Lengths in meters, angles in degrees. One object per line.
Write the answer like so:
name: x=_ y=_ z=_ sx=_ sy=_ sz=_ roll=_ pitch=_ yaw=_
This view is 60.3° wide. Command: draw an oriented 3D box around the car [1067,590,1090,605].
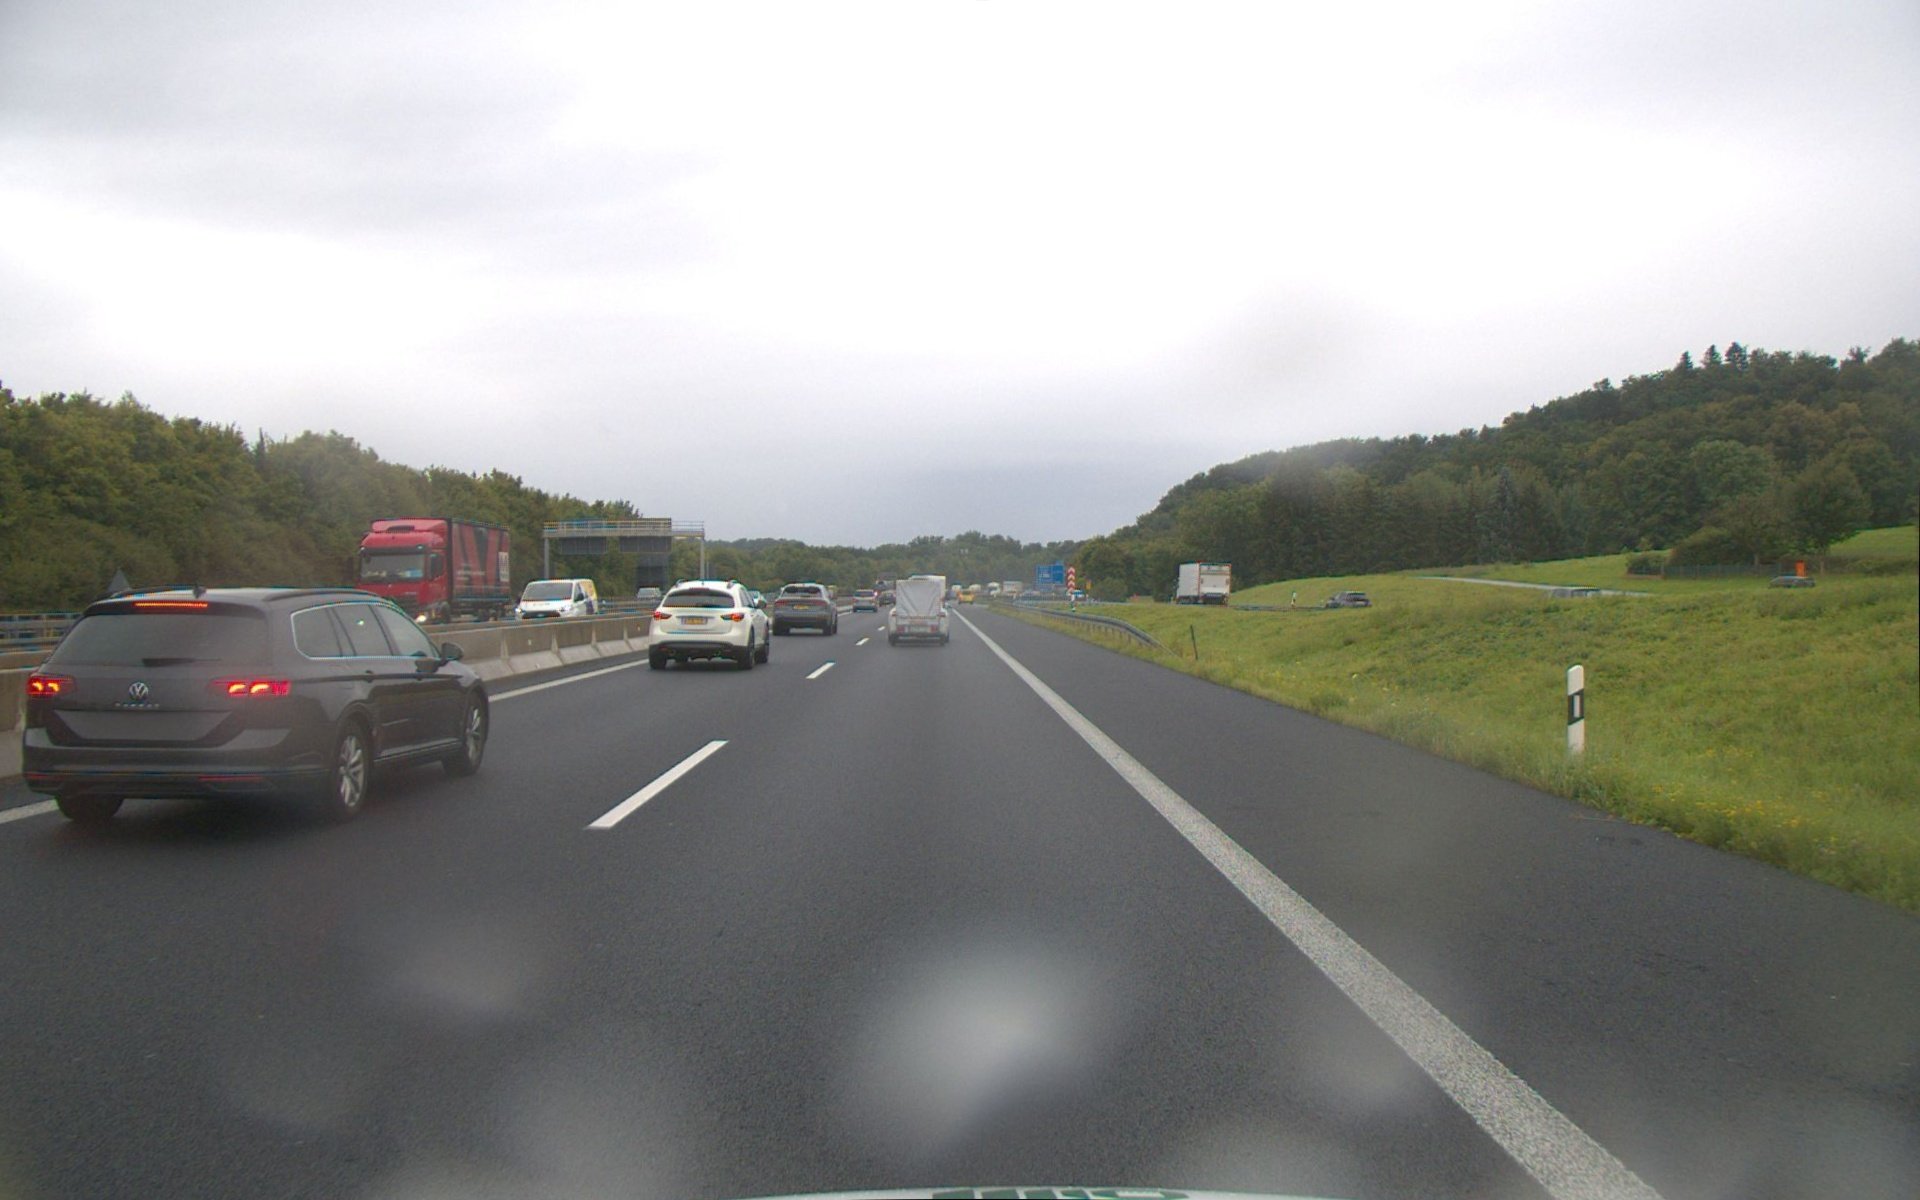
car: x=12.772 y=-0.292 z=178.811 sx=1.954 sy=1.579 sz=3.996 roll=1 pitch=0 yaw=-4

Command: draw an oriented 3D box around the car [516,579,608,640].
car: x=-13.345 y=0.292 z=55.791 sx=1.953 sy=1.895 sz=5.219 roll=-2 pitch=0 yaw=-2

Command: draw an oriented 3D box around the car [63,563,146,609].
car: x=-39.267 y=-0.636 z=76.006 sx=1.714 sy=2.049 sz=4.000 roll=0 pitch=0 yaw=0

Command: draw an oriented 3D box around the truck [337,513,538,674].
truck: x=-17.089 y=-0.231 z=55.083 sx=3.330 sy=4.816 sz=10.484 roll=1 pitch=0 yaw=0

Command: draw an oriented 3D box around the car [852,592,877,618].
car: x=-6.944 y=0.320 z=120.481 sx=1.703 sy=1.825 sz=3.999 roll=1 pitch=0 yaw=-1

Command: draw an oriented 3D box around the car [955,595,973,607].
car: x=0.489 y=0.126 z=220.577 sx=1.955 sy=1.579 sz=3.995 roll=1 pitch=0 yaw=-6

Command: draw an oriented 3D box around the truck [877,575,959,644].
truck: x=-1.242 y=0.245 z=48.288 sx=2.197 sy=1.871 sz=6.582 roll=1 pitch=0 yaw=-2

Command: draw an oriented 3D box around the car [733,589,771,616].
car: x=-14.124 y=0.165 z=112.609 sx=2.112 sy=1.796 sz=4.958 roll=0 pitch=0 yaw=-2

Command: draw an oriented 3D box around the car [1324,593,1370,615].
car: x=23.832 y=0.232 z=101.881 sx=1.664 sy=1.311 sz=3.530 roll=1 pitch=0 yaw=-7

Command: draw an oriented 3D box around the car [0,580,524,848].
car: x=-4.594 y=0.630 z=11.663 sx=1.751 sy=1.484 sz=4.802 roll=1 pitch=0 yaw=0

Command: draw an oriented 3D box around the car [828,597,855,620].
car: x=-8.965 y=0.620 z=125.596 sx=1.782 sy=1.691 sz=4.016 roll=0 pitch=0 yaw=-1

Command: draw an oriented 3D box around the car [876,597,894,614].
car: x=-7.405 y=0.534 z=163.511 sx=1.612 sy=1.601 sz=3.999 roll=1 pitch=0 yaw=-1

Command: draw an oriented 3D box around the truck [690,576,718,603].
truck: x=-35.360 y=-1.450 z=229.080 sx=2.631 sy=3.725 sz=9.555 roll=-1 pitch=0 yaw=-2

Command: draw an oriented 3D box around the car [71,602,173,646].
car: x=-28.718 y=0.802 z=56.802 sx=1.491 sy=1.422 sz=3.999 roll=0 pitch=0 yaw=-1

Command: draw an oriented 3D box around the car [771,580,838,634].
car: x=-5.293 y=0.225 z=56.879 sx=1.936 sy=1.733 sz=4.801 roll=1 pitch=0 yaw=-1

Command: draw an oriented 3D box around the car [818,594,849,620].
car: x=-8.565 y=0.465 z=112.288 sx=1.782 sy=1.691 sz=4.016 roll=0 pitch=0 yaw=-1

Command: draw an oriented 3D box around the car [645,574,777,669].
car: x=-4.783 y=0.386 z=32.436 sx=2.007 sy=1.699 sz=4.539 roll=1 pitch=0 yaw=-2

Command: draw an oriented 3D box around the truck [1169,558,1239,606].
truck: x=19.596 y=-1.415 z=133.251 sx=3.750 sy=3.723 sz=8.264 roll=1 pitch=0 yaw=-5

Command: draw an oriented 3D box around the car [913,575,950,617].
car: x=-1.998 y=-0.280 z=112.806 sx=2.285 sy=2.773 sz=6.535 roll=0 pitch=0 yaw=-3
